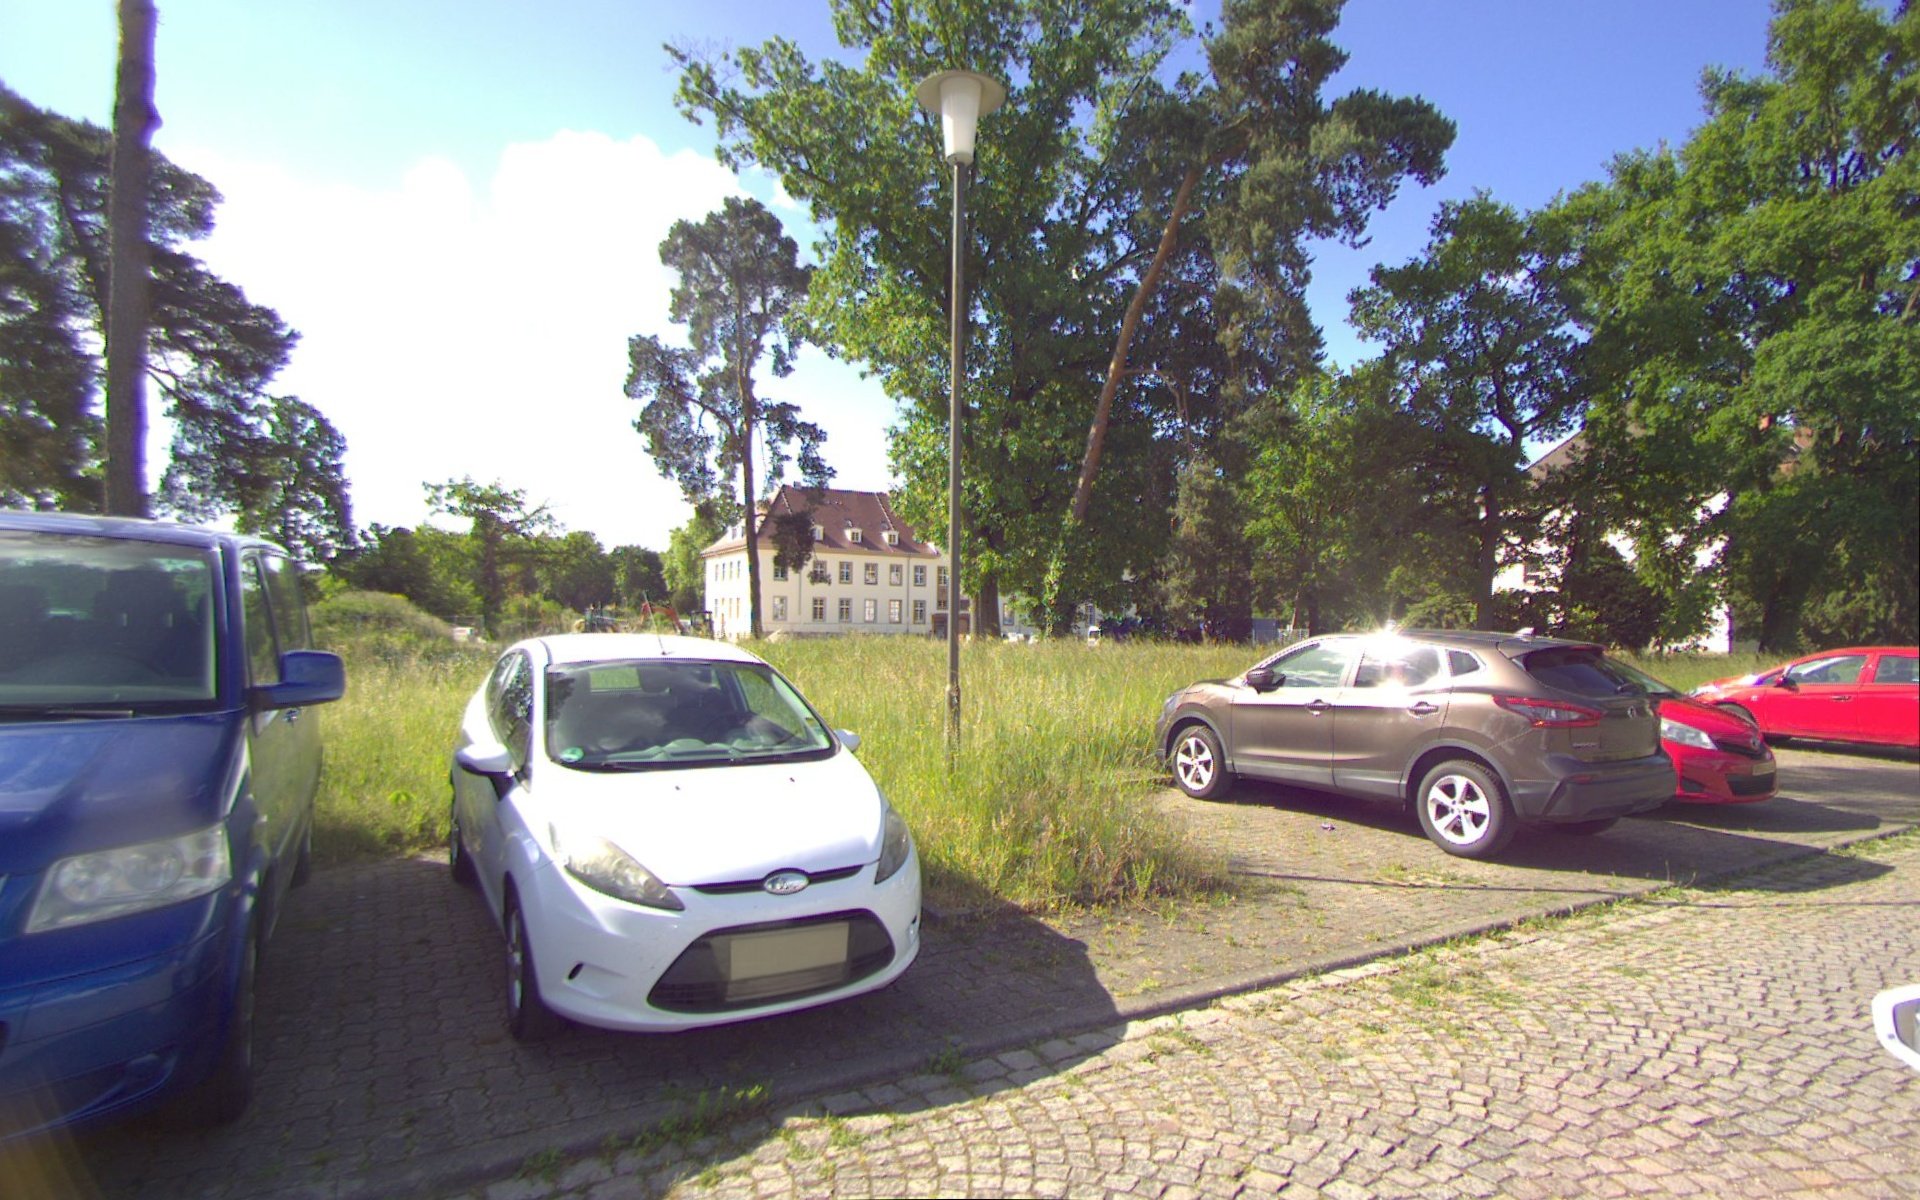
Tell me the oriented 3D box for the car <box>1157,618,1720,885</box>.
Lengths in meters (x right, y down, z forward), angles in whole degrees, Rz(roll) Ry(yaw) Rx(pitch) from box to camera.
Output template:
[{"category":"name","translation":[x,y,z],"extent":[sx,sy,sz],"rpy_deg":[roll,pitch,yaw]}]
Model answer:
[{"category":"car","translation":[3.763,1.013,8.592],"extent":[1.951,1.589,3.933],"rpy_deg":[1,0,-31]}]

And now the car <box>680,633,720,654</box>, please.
[{"category":"car","translation":[-24.640,4.138,95.133],"extent":[1.981,1.878,4.086],"rpy_deg":[3,-3,-42]}]

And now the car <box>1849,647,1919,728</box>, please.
[{"category":"car","translation":[18.998,1.658,18.236],"extent":[1.819,1.452,3.907],"rpy_deg":[1,-1,-28]}]

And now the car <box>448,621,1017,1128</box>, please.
[{"category":"car","translation":[-1.500,0.915,5.182],"extent":[1.665,1.459,3.794],"rpy_deg":[2,0,-32]}]

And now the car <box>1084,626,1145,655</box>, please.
[{"category":"car","translation":[13.509,3.570,87.725],"extent":[5.214,2.468,1.975],"rpy_deg":[2,-2,-30]}]

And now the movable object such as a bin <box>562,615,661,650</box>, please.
[{"category":"movable object such as a bin","translation":[-22.599,2.102,65.236],"extent":[5.565,2.153,2.530],"rpy_deg":[0,-2,16]}]

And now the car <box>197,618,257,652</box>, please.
[{"category":"car","translation":[-37.599,1.794,51.614],"extent":[1.889,1.626,4.211],"rpy_deg":[2,-2,-28]}]

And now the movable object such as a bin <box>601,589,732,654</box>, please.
[{"category":"movable object such as a bin","translation":[-17.982,1.410,61.963],"extent":[3.867,3.780,6.769],"rpy_deg":[0,-3,36]}]

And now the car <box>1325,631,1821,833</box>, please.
[{"category":"car","translation":[5.941,1.136,10.223],"extent":[1.845,1.468,3.903],"rpy_deg":[1,0,-31]}]

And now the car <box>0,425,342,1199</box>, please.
[{"category":"car","translation":[-3.782,0.561,4.026],"extent":[1.982,1.994,4.695],"rpy_deg":[2,0,-30]}]

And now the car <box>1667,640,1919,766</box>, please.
[{"category":"car","translation":[12.446,1.376,13.957],"extent":[1.821,1.480,3.903],"rpy_deg":[1,0,-31]}]

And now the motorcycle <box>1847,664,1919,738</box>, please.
[{"category":"motorcycle","translation":[16.104,1.695,16.501],"extent":[0.570,1.177,2.233],"rpy_deg":[2,-1,-28]}]
